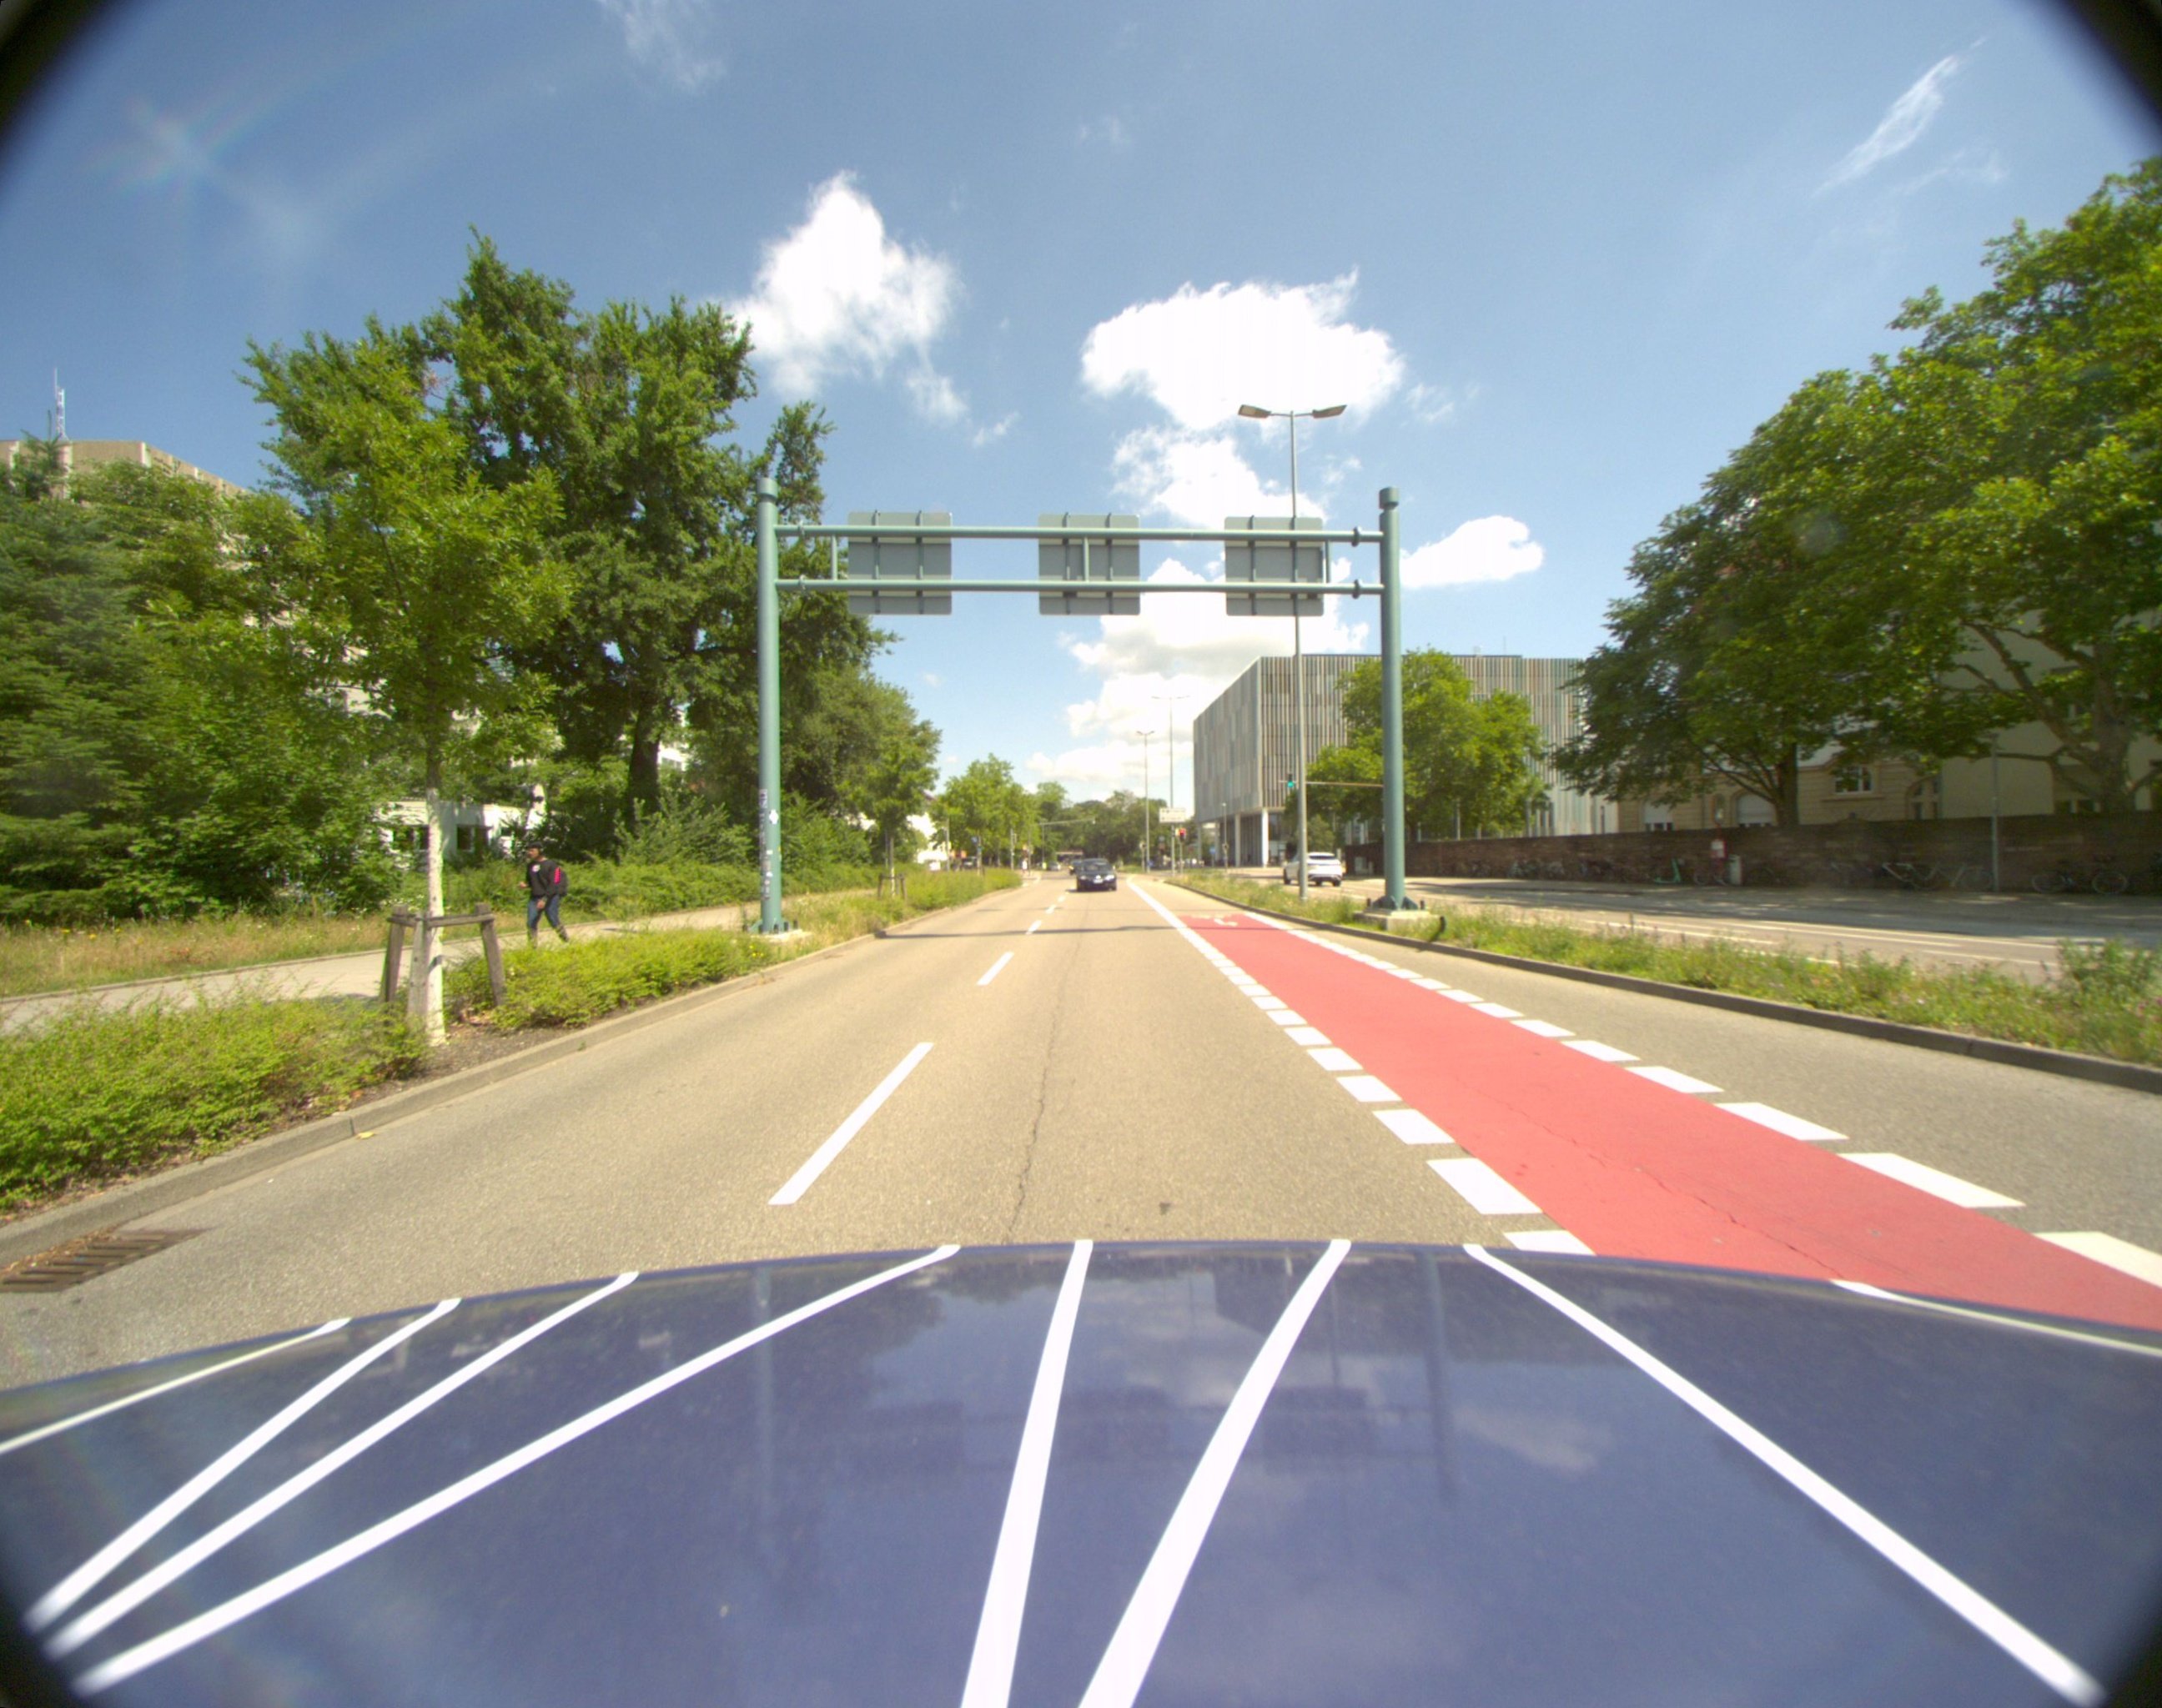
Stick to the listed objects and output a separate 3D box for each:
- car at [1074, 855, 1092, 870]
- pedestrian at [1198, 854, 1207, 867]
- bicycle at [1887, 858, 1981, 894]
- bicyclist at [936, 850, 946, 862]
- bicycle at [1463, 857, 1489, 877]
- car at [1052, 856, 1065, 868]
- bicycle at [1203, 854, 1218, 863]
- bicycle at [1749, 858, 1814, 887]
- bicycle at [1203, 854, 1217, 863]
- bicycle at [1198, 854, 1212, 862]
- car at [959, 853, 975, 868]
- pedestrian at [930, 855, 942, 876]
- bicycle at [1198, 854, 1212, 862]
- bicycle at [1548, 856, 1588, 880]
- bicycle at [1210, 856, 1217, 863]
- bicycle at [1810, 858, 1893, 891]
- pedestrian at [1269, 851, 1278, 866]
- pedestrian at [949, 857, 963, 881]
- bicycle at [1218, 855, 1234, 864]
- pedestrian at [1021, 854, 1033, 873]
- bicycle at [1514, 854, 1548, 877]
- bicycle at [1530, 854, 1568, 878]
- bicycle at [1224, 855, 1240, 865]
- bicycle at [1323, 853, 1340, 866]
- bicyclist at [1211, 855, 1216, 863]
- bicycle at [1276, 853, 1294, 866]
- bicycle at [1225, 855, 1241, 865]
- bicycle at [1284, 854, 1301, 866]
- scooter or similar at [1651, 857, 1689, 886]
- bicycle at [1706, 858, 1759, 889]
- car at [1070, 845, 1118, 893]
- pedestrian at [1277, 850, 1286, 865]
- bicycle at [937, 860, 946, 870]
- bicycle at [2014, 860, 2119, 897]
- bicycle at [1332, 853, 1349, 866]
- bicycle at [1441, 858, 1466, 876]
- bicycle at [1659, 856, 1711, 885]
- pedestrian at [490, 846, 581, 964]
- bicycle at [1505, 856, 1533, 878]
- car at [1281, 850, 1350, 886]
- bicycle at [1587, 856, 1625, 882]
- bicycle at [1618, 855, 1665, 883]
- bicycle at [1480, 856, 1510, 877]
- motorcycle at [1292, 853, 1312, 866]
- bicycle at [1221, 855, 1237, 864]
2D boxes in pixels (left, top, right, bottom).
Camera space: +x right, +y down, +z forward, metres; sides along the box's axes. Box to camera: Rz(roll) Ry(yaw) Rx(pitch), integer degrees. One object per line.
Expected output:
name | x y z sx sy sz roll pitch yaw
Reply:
car | 0.205 0.960 84.613 1.846 1.593 3.999 -1 0 -2
pedestrian | 16.008 0.868 100.130 0.972 1.619 0.878 -1 1 -7
bicycle | 25.957 0.644 23.161 0.545 1.041 1.894 -1 0 -11
bicyclist | -17.067 0.283 92.630 0.972 1.436 1.076 -1 0 -6
bicycle | 22.835 0.727 43.934 0.500 1.145 1.593 -1 0 -8
car | -3.634 1.296 121.568 1.913 1.772 3.999 -1 0 -3
bicycle | 23.200 0.812 136.225 2.511 1.486 0.621 -1 0 1
bicycle | 25.255 0.665 27.437 0.482 1.002 1.800 -1 0 -8
bicycle | 23.293 0.800 137.338 2.511 1.486 0.621 -1 0 1
bicycle | 23.094 0.760 141.733 2.511 1.486 0.621 -1 0 1
car | -15.965 0.889 106.555 2.000 2.042 4.226 -1 0 -8
pedestrian | -13.154 1.075 68.796 0.972 1.861 0.878 -1 1 -7
bicycle | 22.984 0.769 141.033 2.511 1.486 0.621 -1 0 1
bicycle | 23.464 0.668 36.640 0.403 1.145 1.590 -1 0 -32
bicycle | 19.897 0.810 114.170 0.647 0.992 2.163 -1 0 -1
bicycle | 25.622 0.652 25.317 0.545 1.041 1.948 -1 0 -11
pedestrian | 25.017 0.559 98.792 0.969 1.914 0.880 -1 1 30
pedestrian | -9.181 1.083 55.690 0.815 1.711 0.929 -1 1 2
bicycle | 23.683 0.921 124.229 2.511 1.486 0.621 -1 0 1
pedestrian | -5.692 0.973 80.082 1.108 1.914 0.972 -1 1 5
bicycle | 23.168 0.602 39.159 0.403 1.145 1.591 -1 0 -22
bicycle | 23.275 0.604 37.833 0.403 1.145 1.590 -1 0 -32
bicycle | 23.979 0.953 120.542 2.451 1.486 0.621 -1 0 1
bicycle | 31.122 0.679 94.356 0.997 1.543 3.422 -1 0 37
bicyclist | 19.921 0.709 114.192 0.618 1.219 0.834 -1 0 1
bicycle | 26.602 0.752 98.930 0.808 1.634 3.422 -1 0 42
bicycle | 24.267 0.937 121.547 2.509 1.486 0.730 -1 0 10
bicycle | 27.368 0.831 98.197 2.693 1.485 0.930 -1 0 -45
scooter or similar | 23.915 0.691 30.864 0.433 1.145 1.191 -1 0 -20
bicycle | 24.959 0.730 29.141 0.433 1.136 1.592 -1 0 -12
car | 0.565 0.636 34.258 1.998 2.002 4.000 -1 0 0
pedestrian | 26.875 0.479 101.956 0.969 1.914 0.880 -1 1 27
bicycle | -17.075 1.330 92.808 0.885 1.244 2.164 -1 0 -6
bicycle | 26.451 0.649 20.430 0.545 0.944 1.664 -1 0 -11
bicycle | 31.946 0.679 93.431 0.997 1.543 3.422 -1 0 37
bicycle | 22.560 0.784 46.036 0.573 1.092 1.593 -1 0 -8
bicycle | 24.630 0.649 31.009 0.534 1.145 1.591 -1 0 -21
pedestrian | -8.193 0.744 11.448 0.718 1.711 0.837 -1 1 2
bicycle | 23.368 0.671 40.553 0.413 1.145 1.593 -1 0 -5
car | 11.589 0.661 37.926 2.076 1.657 4.776 -1 0 2
bicycle | 23.827 0.684 34.491 0.403 1.145 1.593 -1 0 -11
bicycle | 24.152 0.639 32.750 0.534 1.145 1.591 -1 0 -21
bicycle | 23.005 0.707 42.237 0.623 1.145 1.593 -1 0 -8
motorcycle | 28.332 0.719 97.243 0.969 1.630 3.305 -1 0 45
bicycle | 24.426 0.901 125.127 2.511 1.486 0.621 -1 0 1
